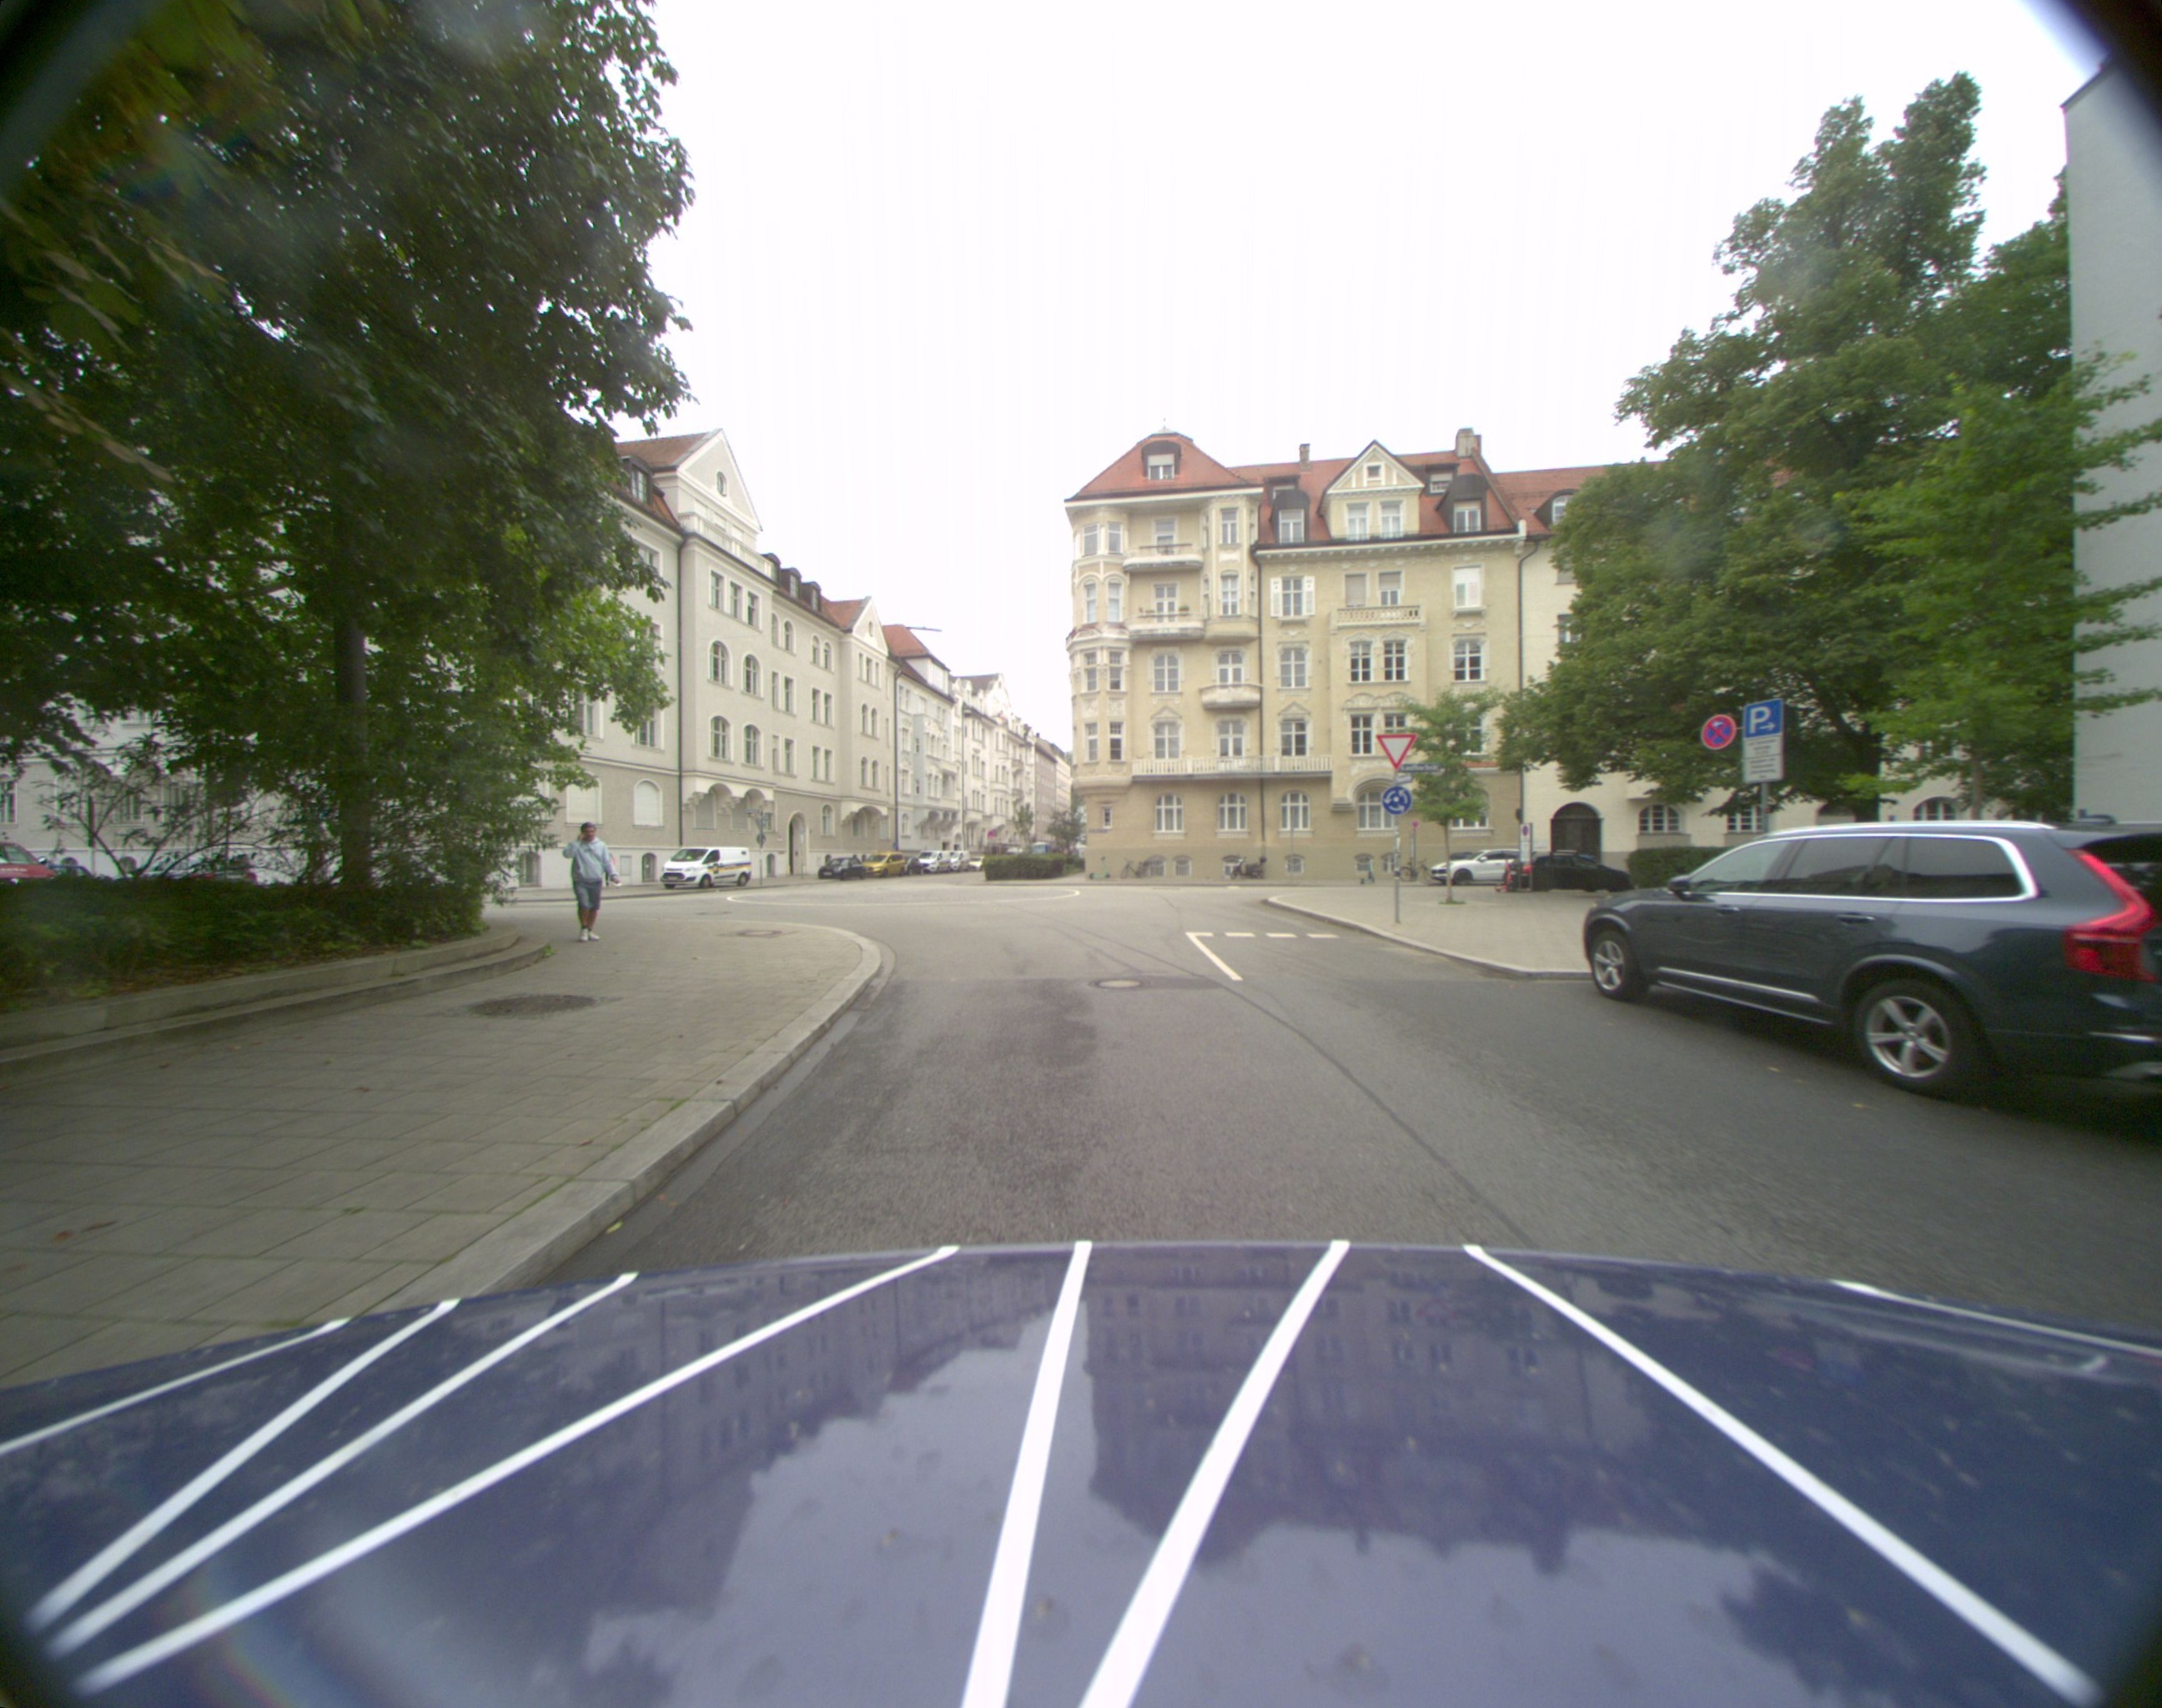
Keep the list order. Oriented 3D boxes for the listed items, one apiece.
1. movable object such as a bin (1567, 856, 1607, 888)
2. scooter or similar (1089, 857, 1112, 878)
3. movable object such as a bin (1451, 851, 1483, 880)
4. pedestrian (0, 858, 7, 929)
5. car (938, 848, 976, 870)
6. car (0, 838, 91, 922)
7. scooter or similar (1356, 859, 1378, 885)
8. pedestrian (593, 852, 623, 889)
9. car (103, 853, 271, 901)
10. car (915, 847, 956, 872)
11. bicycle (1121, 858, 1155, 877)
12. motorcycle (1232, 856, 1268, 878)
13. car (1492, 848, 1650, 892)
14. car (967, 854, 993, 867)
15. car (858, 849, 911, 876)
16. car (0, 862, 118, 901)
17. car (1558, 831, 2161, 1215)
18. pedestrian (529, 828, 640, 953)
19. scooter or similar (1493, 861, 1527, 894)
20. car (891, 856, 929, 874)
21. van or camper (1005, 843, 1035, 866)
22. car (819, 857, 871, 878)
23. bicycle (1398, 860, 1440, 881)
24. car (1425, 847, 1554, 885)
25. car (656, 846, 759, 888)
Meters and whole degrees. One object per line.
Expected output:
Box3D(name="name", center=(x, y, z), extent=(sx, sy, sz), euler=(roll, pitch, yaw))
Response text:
Box3D(name="movable object such as a bin", center=(23.268, 0.807, 34.947), extent=(1.172, 1.417, 1.095), euler=(0, 1, 10))
Box3D(name="scooter or similar", center=(1.071, 0.748, 41.644), extent=(1.217, 1.109, 0.466), euler=(-1, 1, -24))
Box3D(name="movable object such as a bin", center=(19.689, 0.579, 38.804), extent=(1.172, 1.417, 1.095), euler=(0, 1, 10))
Box3D(name="pedestrian", center=(-20.880, 0.742, 13.992), extent=(0.875, 1.330, 1.014), euler=(0, 0, 15))
Box3D(name="car", center=(-11.550, 0.488, 71.033), extent=(2.121, 1.982, 4.826), euler=(0, 0, 9))
Box3D(name="car", center=(-27.155, 0.598, 18.341), extent=(4.879, 1.910, 1.881), euler=(0, 2, 11))
Box3D(name="scooter or similar", center=(13.612, 0.838, 36.178), extent=(1.218, 1.187, 0.466), euler=(-1, 1, -43))
Box3D(name="pedestrian", center=(-21.208, 0.726, 34.085), extent=(0.732, 1.626, 0.856), euler=(0, 1, 10))
Box3D(name="car", center=(-31.148, 0.779, 26.515), extent=(4.489, 1.592, 1.754), euler=(0, -1, 10))
Box3D(name="car", center=(-12.362, 0.469, 64.966), extent=(2.122, 2.079, 4.825), euler=(0, 0, 7))
Box3D(name="bicycle", center=(3.133, 0.747, 41.609), extent=(1.828, 1.043, 0.565), euler=(0, 1, 7))
Box3D(name="motorcycle", center=(9.036, 0.684, 40.654), extent=(1.828, 1.169, 0.600), euler=(0, 1, 7))
Box3D(name="car", center=(17.330, 0.569, 27.032), extent=(4.418, 1.496, 1.825), euler=(0, -1, 3))
Box3D(name="car", center=(-10.141, 0.656, 76.610), extent=(1.695, 1.338, 3.542), euler=(0, 0, 9))
Box3D(name="car", center=(-13.889, 0.617, 53.917), extent=(2.024, 1.828, 4.140), euler=(0, 0, 12))
Box3D(name="car", center=(-38.425, 1.000, 28.093), extent=(3.659, 1.406, 1.698), euler=(0, -1, 4))
Box3D(name="car", center=(6.150, 0.781, 5.909), extent=(1.998, 1.781, 4.914), euler=(1, 1, 4))
Box3D(name="pedestrian", center=(-7.331, 0.518, 11.257), extent=(1.050, 1.761, 0.877), euler=(0, 1, 13))
Box3D(name="scooter or similar", center=(14.323, 0.775, 25.385), extent=(0.391, 1.082, 1.000), euler=(-1, 1, -19))
Box3D(name="car", center=(-13.237, 0.808, 58.962), extent=(1.695, 1.338, 3.542), euler=(0, 0, 9))
Box3D(name="van or camper", center=(-7.639, 0.021, 95.750), extent=(1.997, 2.897, 6.443), euler=(0, 1, 11))
Box3D(name="car", center=(-15.042, 0.840, 48.610), extent=(1.694, 1.338, 3.683), euler=(0, 0, 10))
Box3D(name="bicycle", center=(16.620, 0.801, 37.378), extent=(1.828, 1.043, 0.565), euler=(0, 1, 7))
Box3D(name="car", center=(18.698, 0.537, 35.002), extent=(4.834, 1.691, 1.983), euler=(0, 1, 7))
Box3D(name="car", center=(-17.685, 0.576, 36.256), extent=(1.922, 1.870, 4.914), euler=(0, 0, 9))
